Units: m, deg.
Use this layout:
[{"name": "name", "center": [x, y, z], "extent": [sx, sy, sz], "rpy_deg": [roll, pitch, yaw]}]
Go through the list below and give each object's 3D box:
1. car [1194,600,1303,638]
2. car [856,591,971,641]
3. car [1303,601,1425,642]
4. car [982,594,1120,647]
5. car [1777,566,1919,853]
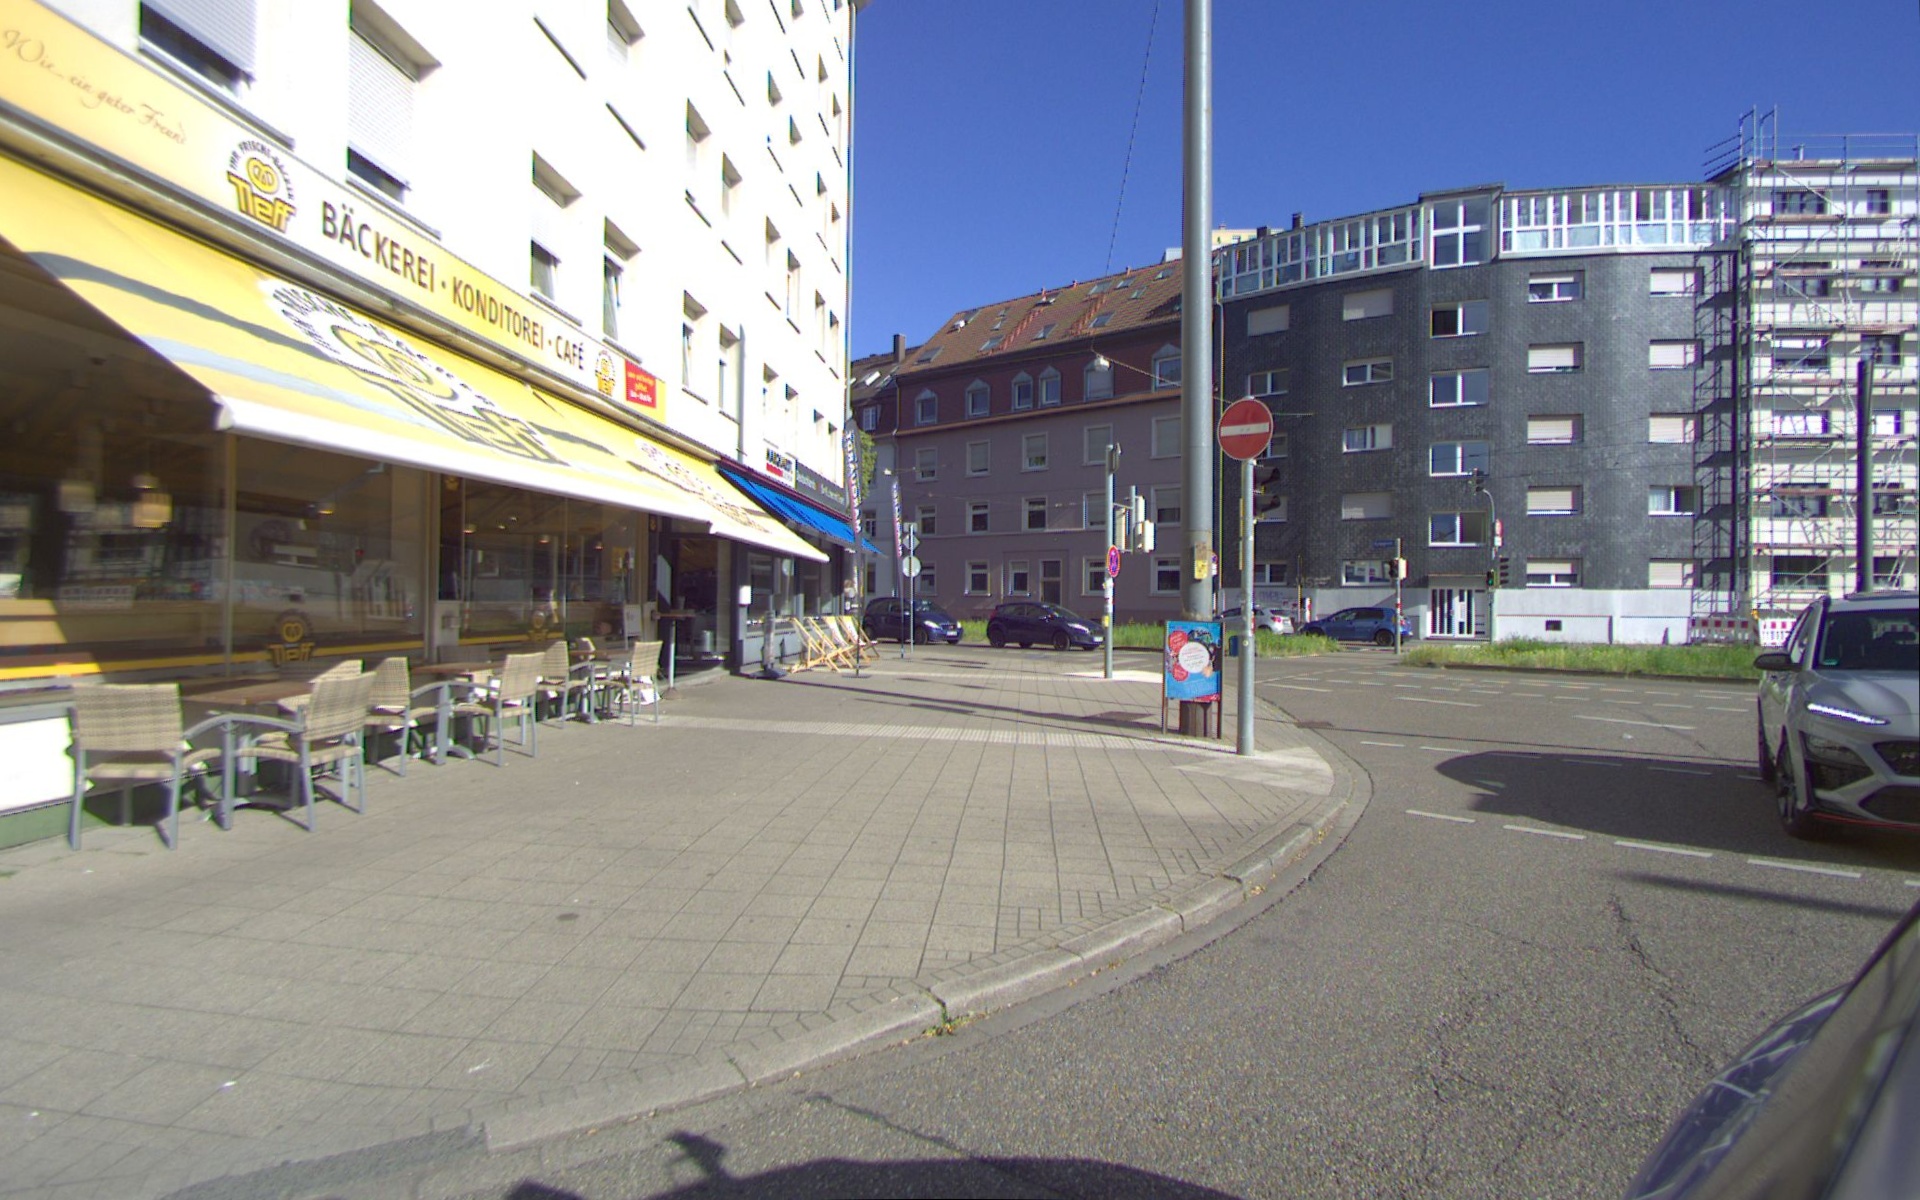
[{"name": "car", "center": [11.773, 0.754, 41.481], "extent": [3.984, 1.433, 1.663], "rpy_deg": [1, 0, 42]}, {"name": "car", "center": [-1.630, 0.503, 34.512], "extent": [3.987, 1.601, 1.633], "rpy_deg": [1, 0, 44]}, {"name": "car", "center": [15.314, 0.780, 38.461], "extent": [3.984, 1.433, 1.663], "rpy_deg": [1, 0, 42]}, {"name": "car", "center": [2.710, 0.597, 30.828], "extent": [3.987, 1.472, 1.707], "rpy_deg": [1, -1, 44]}, {"name": "car", "center": [6.915, 0.620, 7.041], "extent": [1.896, 1.572, 4.421], "rpy_deg": [1, 0, 39]}]
